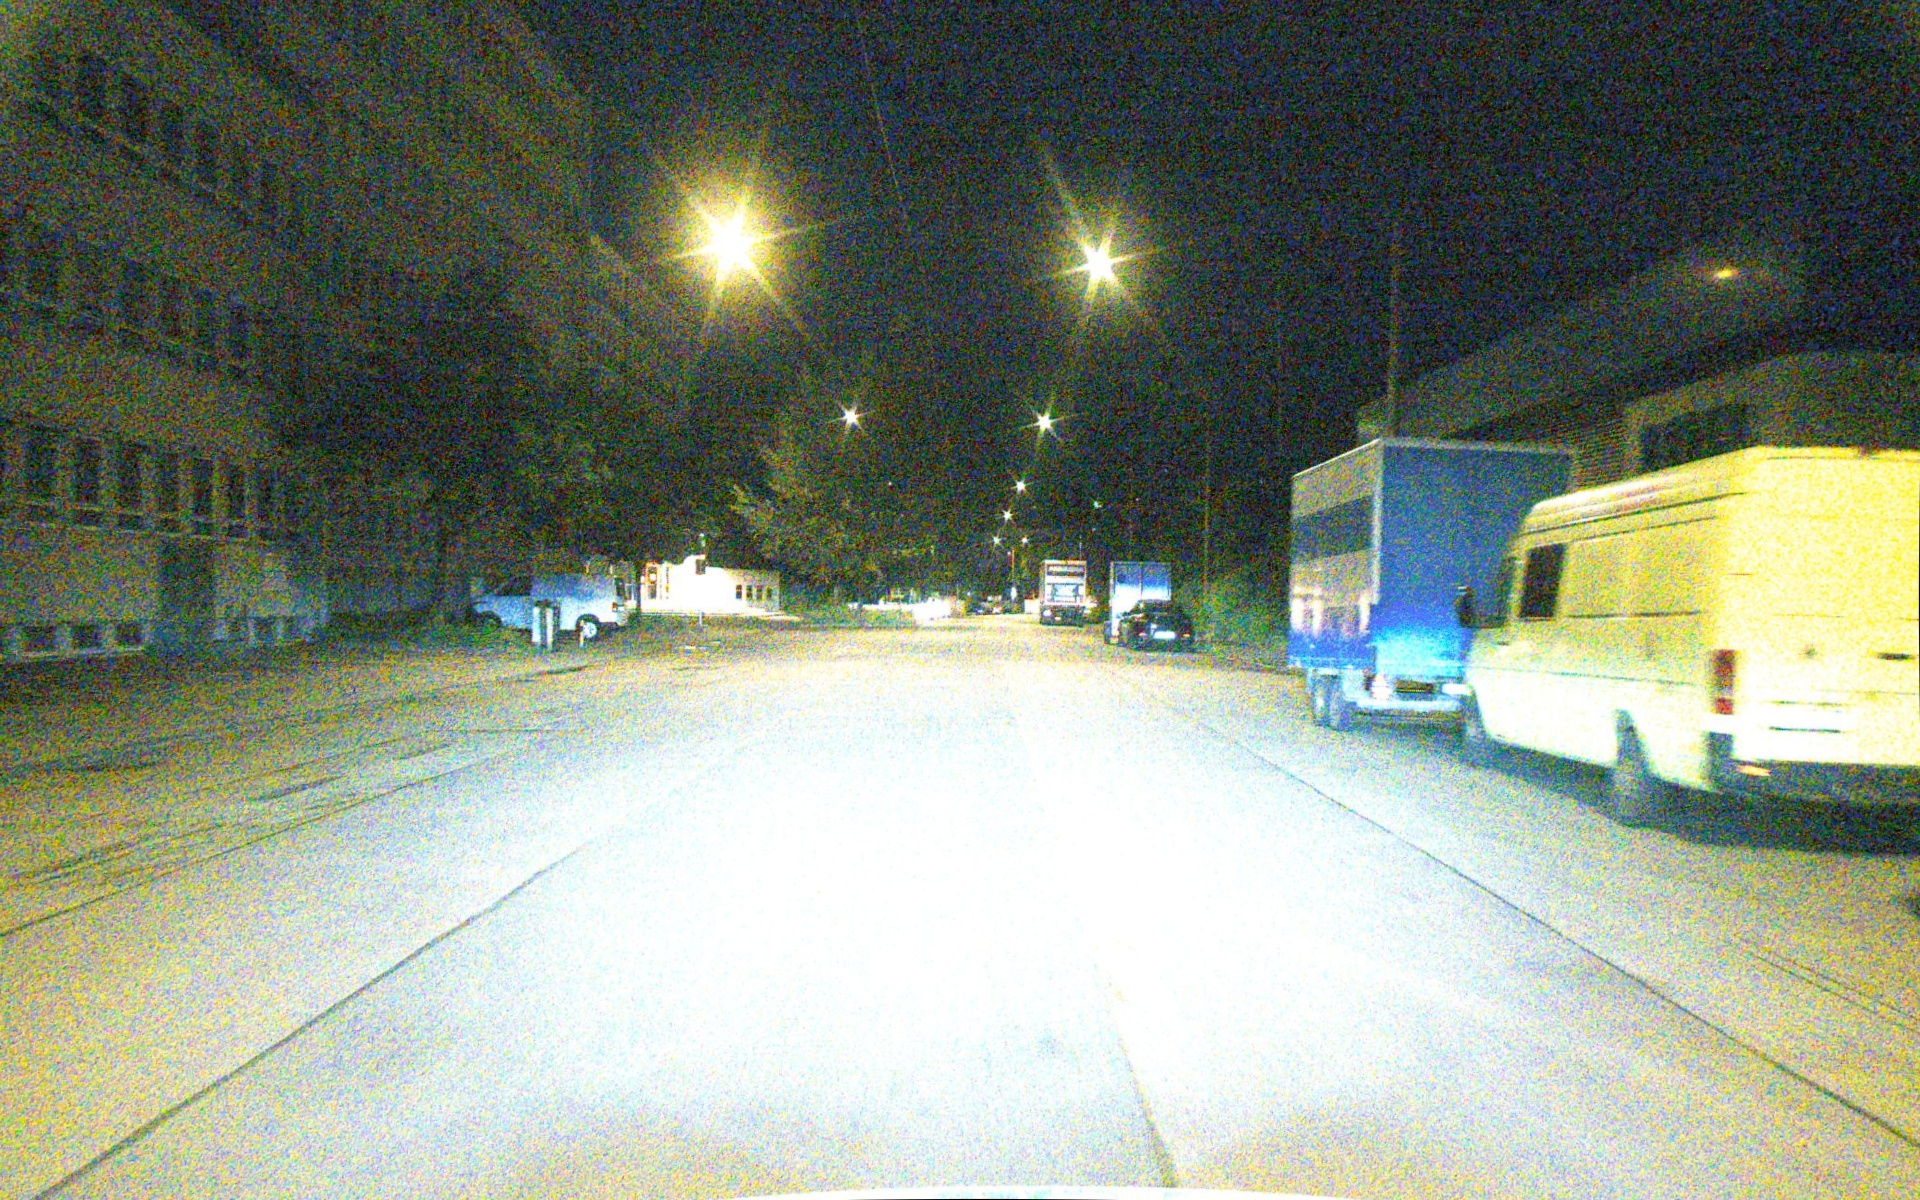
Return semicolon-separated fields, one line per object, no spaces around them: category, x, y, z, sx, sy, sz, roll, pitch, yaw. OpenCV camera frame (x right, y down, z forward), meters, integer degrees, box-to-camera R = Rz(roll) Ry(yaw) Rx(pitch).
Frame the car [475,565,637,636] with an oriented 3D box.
car;-12.115;0.011;49.822;4.341;2.006;2.000;1;0;0

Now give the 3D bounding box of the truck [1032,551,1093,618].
truck;6.358;-0.898;104.048;3.256;3.936;9.328;1;0;1

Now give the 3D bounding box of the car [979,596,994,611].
car;3.121;0.454;196.351;1.685;1.690;4.000;1;-1;1

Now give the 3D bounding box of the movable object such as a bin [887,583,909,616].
movable object such as a bin;-5.297;-0.066;141.757;1.540;2.781;3.696;-2;1;-6

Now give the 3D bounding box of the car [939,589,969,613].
car;-0.869;0.135;233.142;2.465;3.227;7.143;-1;-1;14

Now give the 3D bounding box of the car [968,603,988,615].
car;2.759;1.346;248.799;1.951;1.729;4.209;1;-1;15

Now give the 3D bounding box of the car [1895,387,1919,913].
car;5.771;0.277;5.341;1.953;2.592;6.024;1;0;-1

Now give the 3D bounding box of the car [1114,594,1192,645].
car;5.746;0.561;49.688;1.691;1.411;4.675;1;0;-1

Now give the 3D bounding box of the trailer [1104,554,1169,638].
trailer;5.890;-0.142;55.616;1.952;2.697;4.002;1;0;3

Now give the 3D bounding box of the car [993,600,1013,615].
car;5.837;0.998;225.247;1.684;1.853;4.002;1;-1;16

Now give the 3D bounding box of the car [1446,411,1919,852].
car;5.754;0.182;13.131;1.900;2.592;6.647;1;0;1

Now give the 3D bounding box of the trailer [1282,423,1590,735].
trailer;5.675;-0.242;20.406;2.350;3.384;4.360;1;0;-2

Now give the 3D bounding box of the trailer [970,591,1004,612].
trailer;2.975;0.194;181.629;1.540;2.198;5.176;-1;-1;-26

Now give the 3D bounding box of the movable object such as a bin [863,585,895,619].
movable object such as a bin;-5.956;0.157;121.243;1.525;2.511;2.823;0;-1;-20
